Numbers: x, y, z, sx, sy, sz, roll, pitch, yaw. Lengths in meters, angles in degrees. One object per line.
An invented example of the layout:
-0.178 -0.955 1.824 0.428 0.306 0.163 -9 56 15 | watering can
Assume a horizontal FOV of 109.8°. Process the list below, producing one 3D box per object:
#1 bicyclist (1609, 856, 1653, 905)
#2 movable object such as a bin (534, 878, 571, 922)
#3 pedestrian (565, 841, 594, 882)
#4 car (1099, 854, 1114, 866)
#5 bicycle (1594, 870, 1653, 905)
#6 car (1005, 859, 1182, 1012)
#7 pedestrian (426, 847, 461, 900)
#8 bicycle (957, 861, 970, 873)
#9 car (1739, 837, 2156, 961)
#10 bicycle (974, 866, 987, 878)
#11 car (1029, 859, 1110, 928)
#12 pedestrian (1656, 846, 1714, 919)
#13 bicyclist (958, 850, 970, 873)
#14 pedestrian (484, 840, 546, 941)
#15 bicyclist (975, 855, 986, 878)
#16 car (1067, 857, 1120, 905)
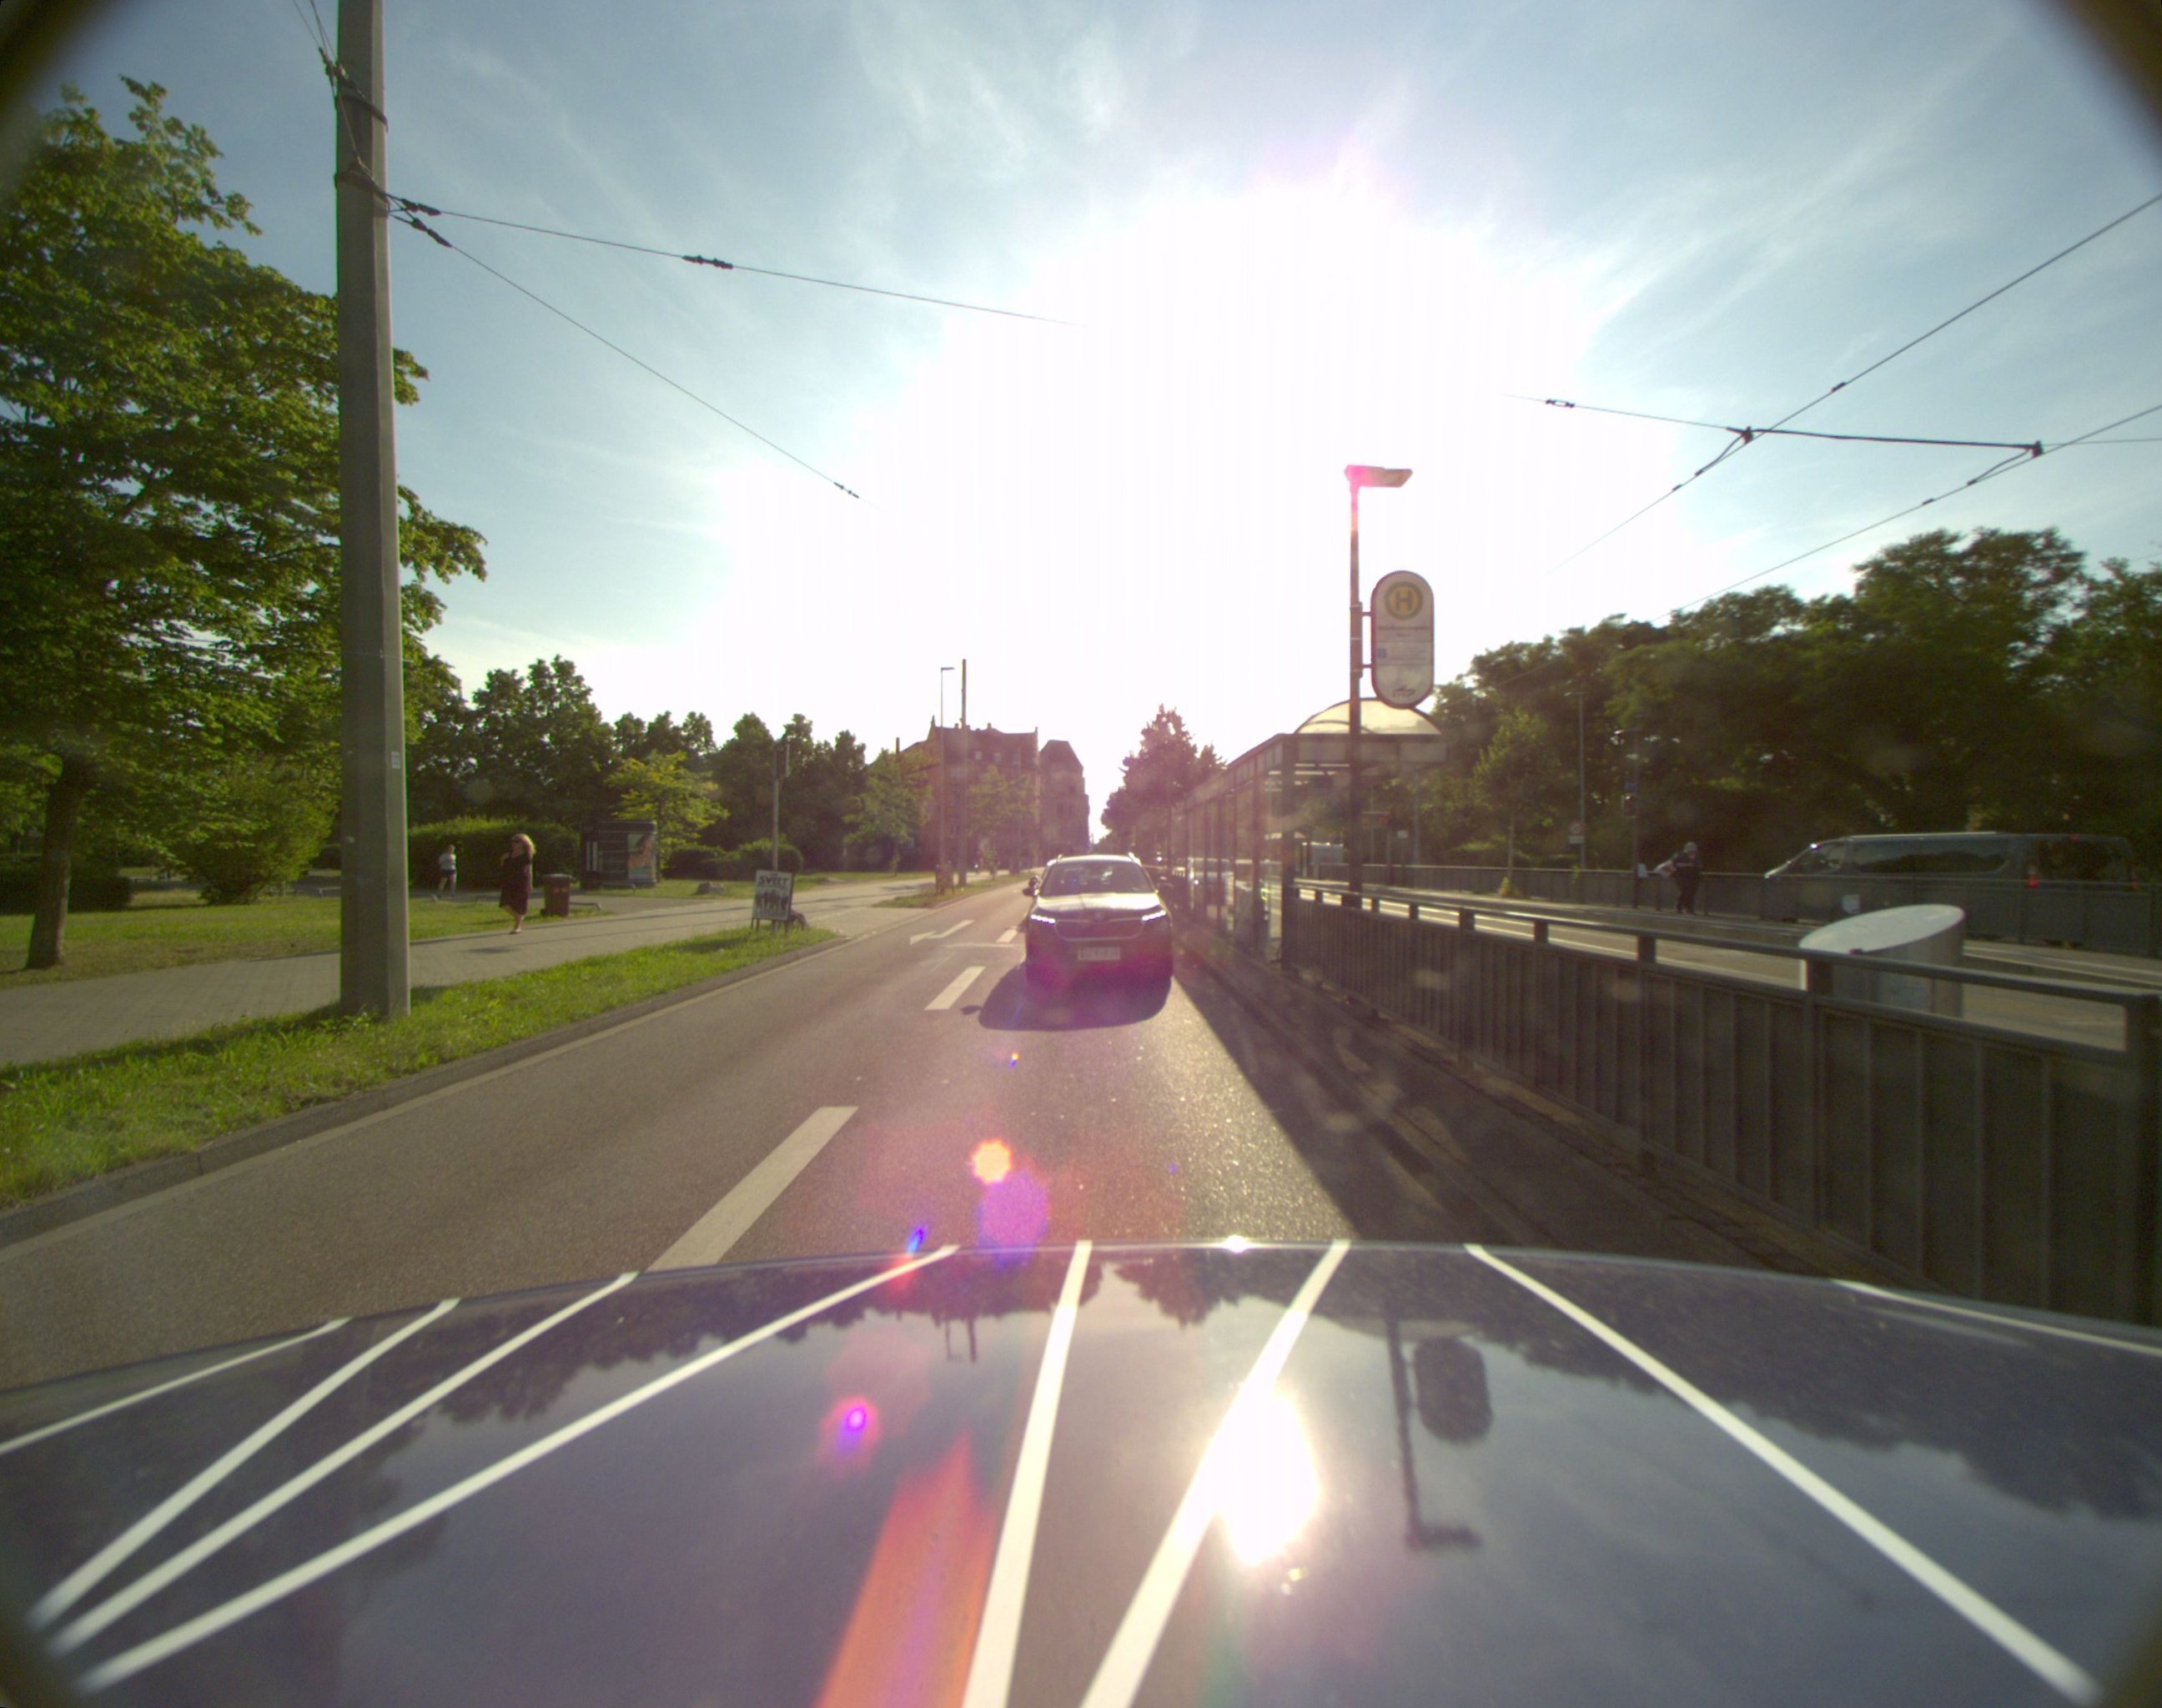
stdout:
18.890 0.893 26.134 0.706 1.614 1.072 -3 0 3 | bicyclist
-11.325 0.976 16.287 0.502 0.898 0.526 1 1 39 | movable object such as a bin
-26.886 0.395 40.762 0.910 2.145 0.891 0 1 13 | pedestrian
3.630 0.827 108.136 1.999 1.674 3.999 0 0 -1 | car
18.913 1.149 26.528 0.727 1.103 1.865 -2 0 2 | bicycle
0.156 0.852 9.850 1.781 1.496 4.000 -2 0 1 | car
-20.098 0.592 23.968 0.660 1.641 0.623 0 1 26 | pedestrian
-9.187 1.027 59.463 0.740 0.912 2.094 0 0 0 | bicycle
16.400 0.728 15.035 2.150 2.002 5.387 0 0 1 | car
-7.844 1.383 59.247 0.740 0.912 2.094 0 0 0 | bicycle
-0.229 0.879 18.706 1.781 1.496 4.000 0 0 1 | car
13.573 0.626 17.094 0.736 1.618 0.689 0 1 1 | pedestrian
-9.166 0.575 59.513 0.754 1.763 1.118 0 1 -1 | bicyclist
-9.752 0.616 13.104 0.558 1.691 0.662 0 1 0 | pedestrian
-7.858 0.944 59.176 0.730 1.763 1.015 0 1 -1 | bicyclist
0.407 0.853 26.005 1.672 1.496 3.872 0 0 1 | car
